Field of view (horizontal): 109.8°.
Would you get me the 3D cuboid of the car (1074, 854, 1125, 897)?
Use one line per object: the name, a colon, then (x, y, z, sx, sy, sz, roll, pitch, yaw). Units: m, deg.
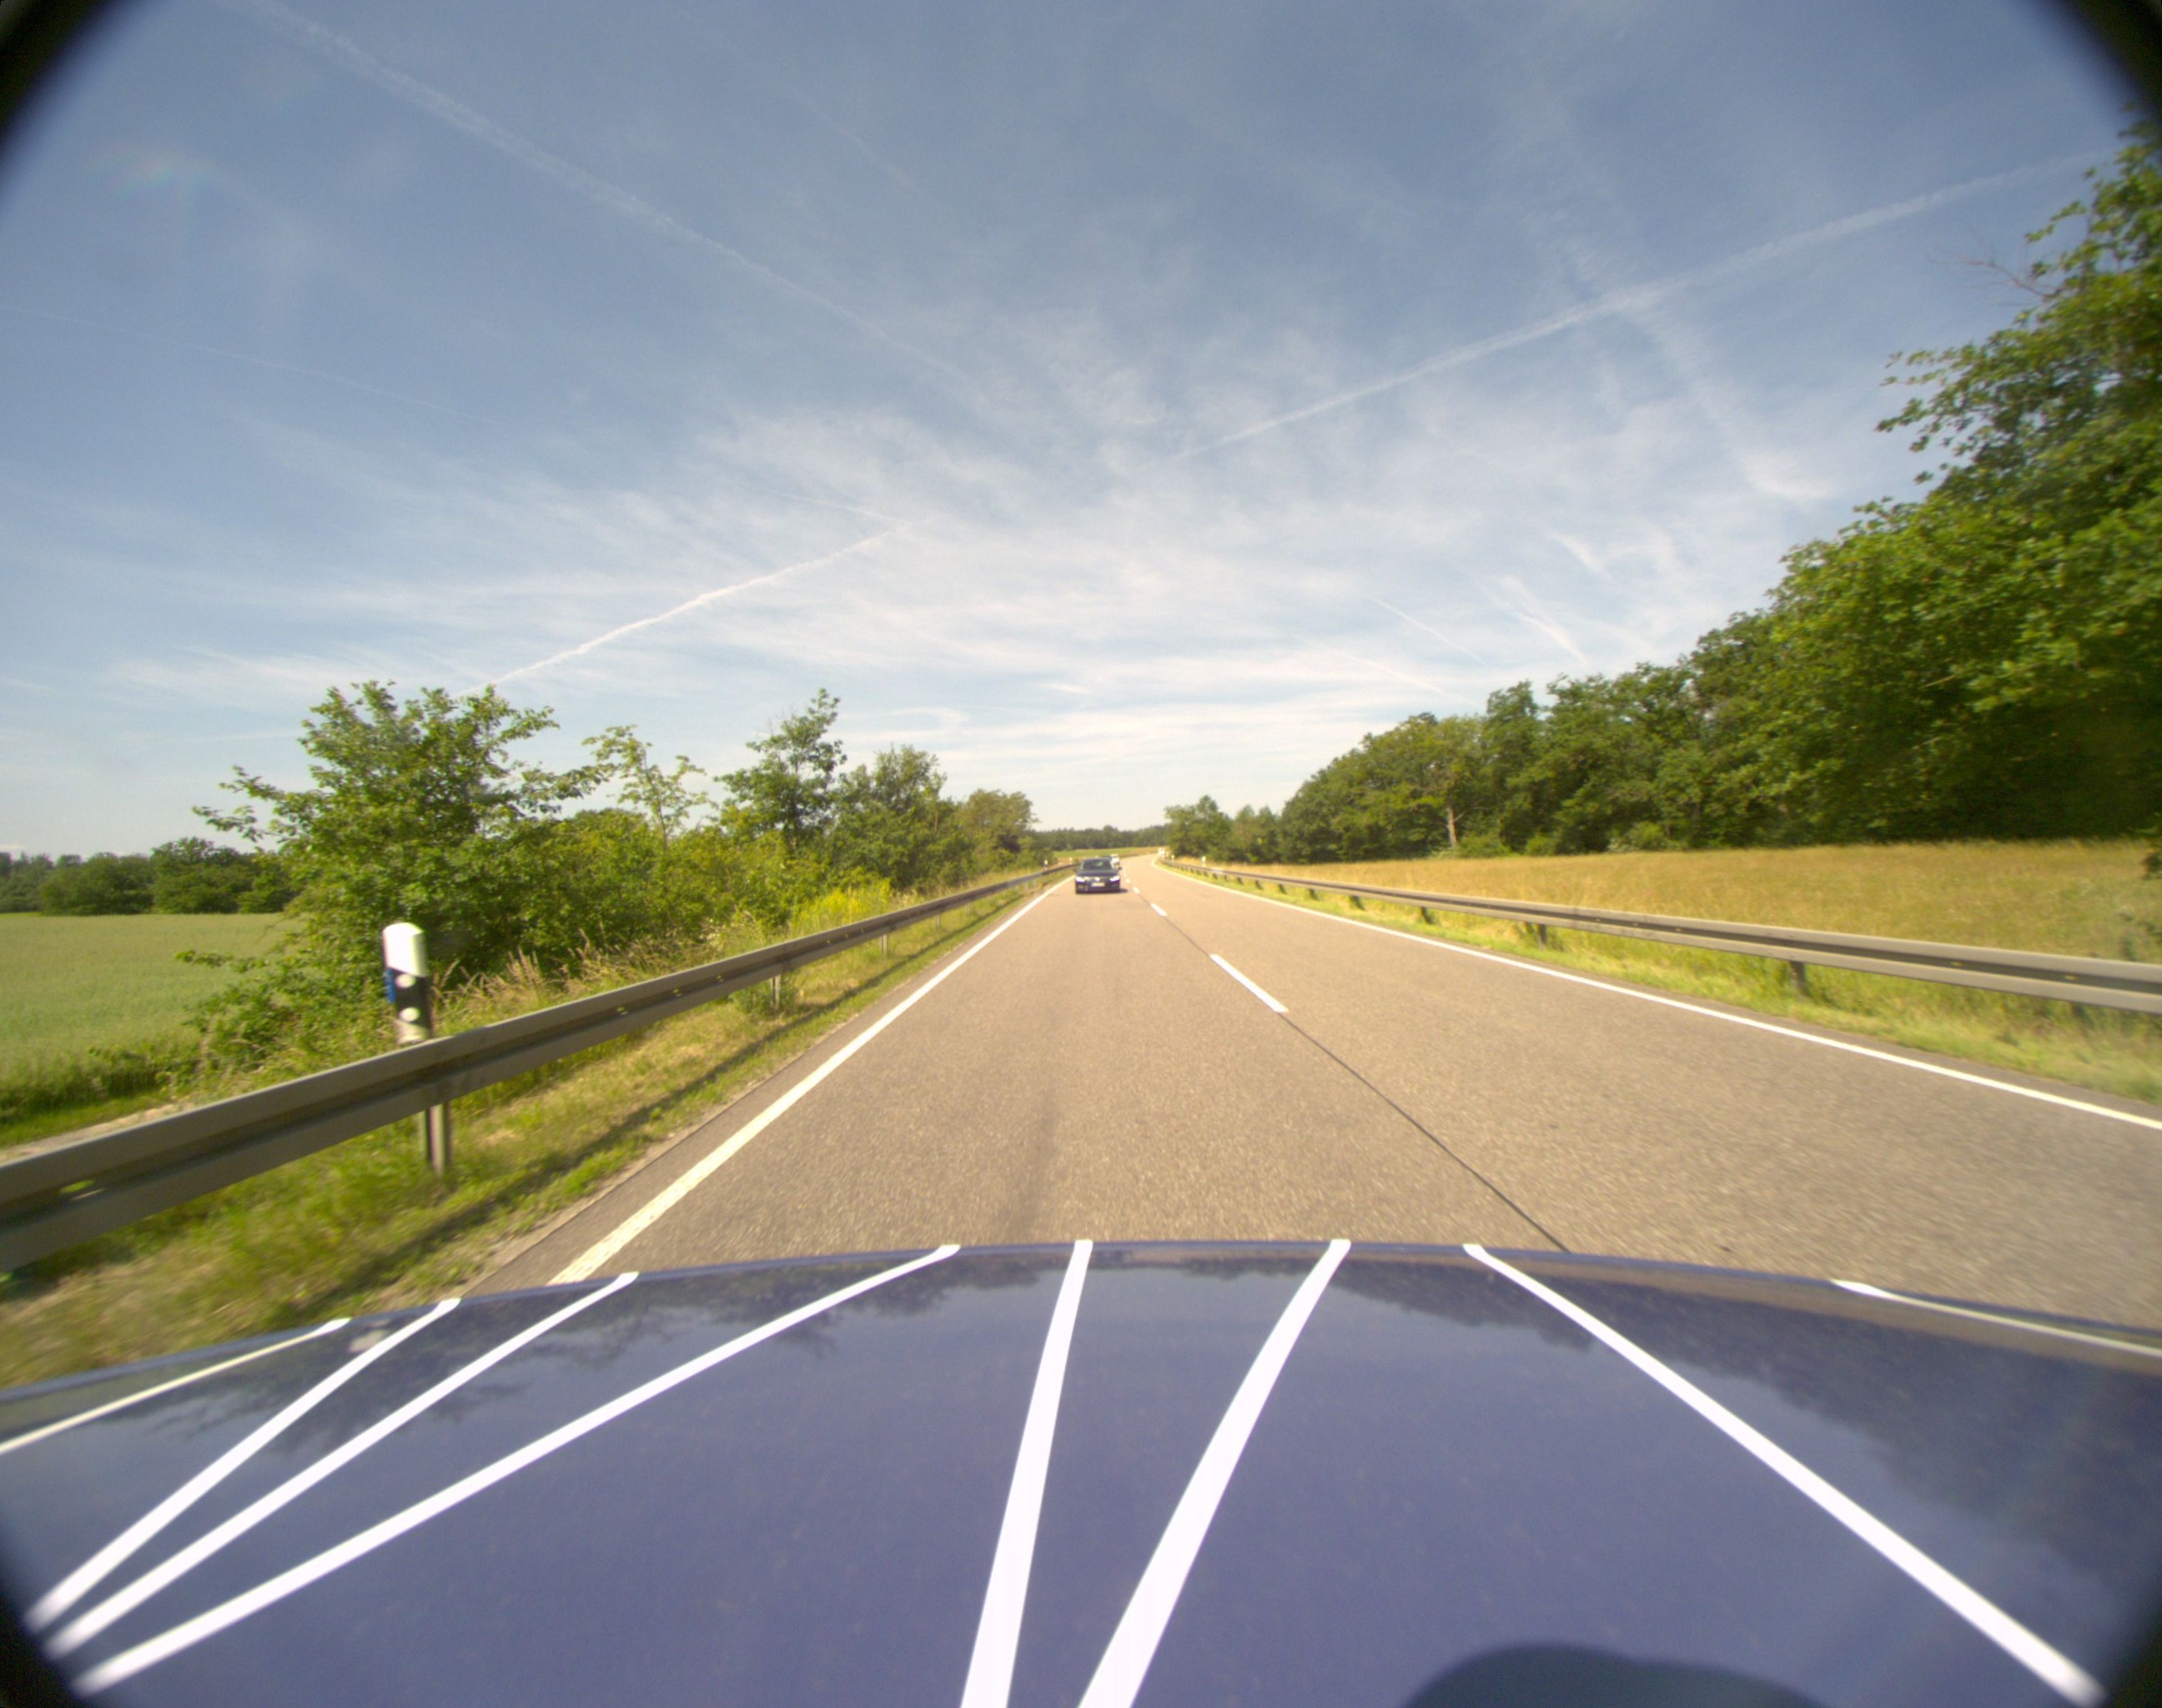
car: (0.741, 0.827, 30.342, 1.821, 1.501, 4.501, -2, -1, 2)

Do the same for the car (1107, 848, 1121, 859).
car: (4.782, -0.009, 109.659, 1.928, 1.501, 4.292, -2, -1, 2)

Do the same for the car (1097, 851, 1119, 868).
car: (2.583, 0.493, 72.531, 1.928, 1.501, 4.292, -2, -1, 2)
